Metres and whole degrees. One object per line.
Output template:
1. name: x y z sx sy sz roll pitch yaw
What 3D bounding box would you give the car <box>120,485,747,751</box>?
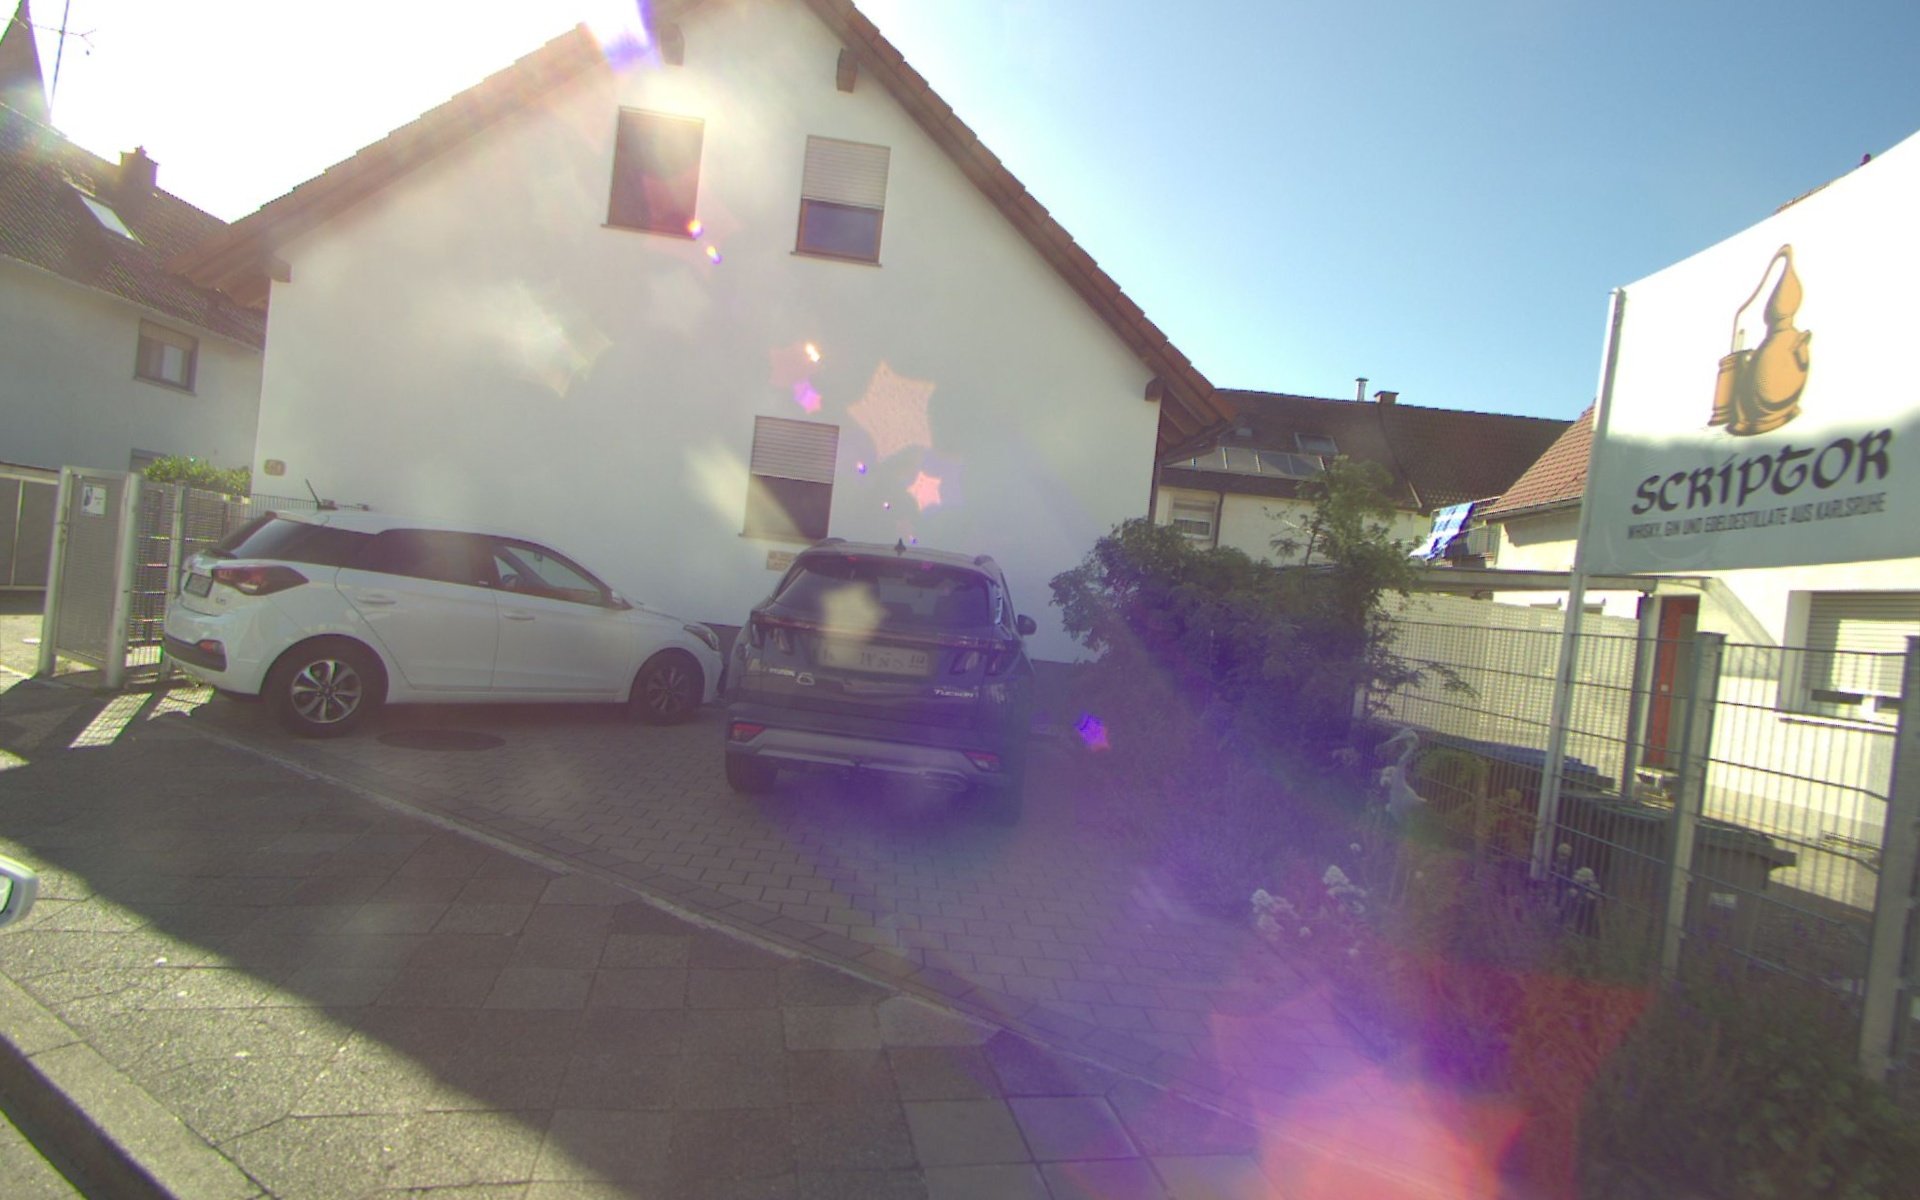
1. car: -3.870 0.154 7.920 1.820 1.511 3.906 7 1 40

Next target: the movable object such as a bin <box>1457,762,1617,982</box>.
1. movable object such as a bin: 2.871 1.332 5.044 0.415 0.934 0.517 7 -1 2

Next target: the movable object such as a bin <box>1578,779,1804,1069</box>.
1. movable object such as a bin: 2.820 1.224 3.922 0.415 0.934 0.517 7 -1 2

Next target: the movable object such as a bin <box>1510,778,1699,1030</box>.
1. movable object such as a bin: 2.840 1.316 4.471 0.415 0.934 0.517 7 -1 2

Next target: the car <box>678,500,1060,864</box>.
1. car: -0.341 0.413 7.367 1.875 1.710 4.048 7 1 4
